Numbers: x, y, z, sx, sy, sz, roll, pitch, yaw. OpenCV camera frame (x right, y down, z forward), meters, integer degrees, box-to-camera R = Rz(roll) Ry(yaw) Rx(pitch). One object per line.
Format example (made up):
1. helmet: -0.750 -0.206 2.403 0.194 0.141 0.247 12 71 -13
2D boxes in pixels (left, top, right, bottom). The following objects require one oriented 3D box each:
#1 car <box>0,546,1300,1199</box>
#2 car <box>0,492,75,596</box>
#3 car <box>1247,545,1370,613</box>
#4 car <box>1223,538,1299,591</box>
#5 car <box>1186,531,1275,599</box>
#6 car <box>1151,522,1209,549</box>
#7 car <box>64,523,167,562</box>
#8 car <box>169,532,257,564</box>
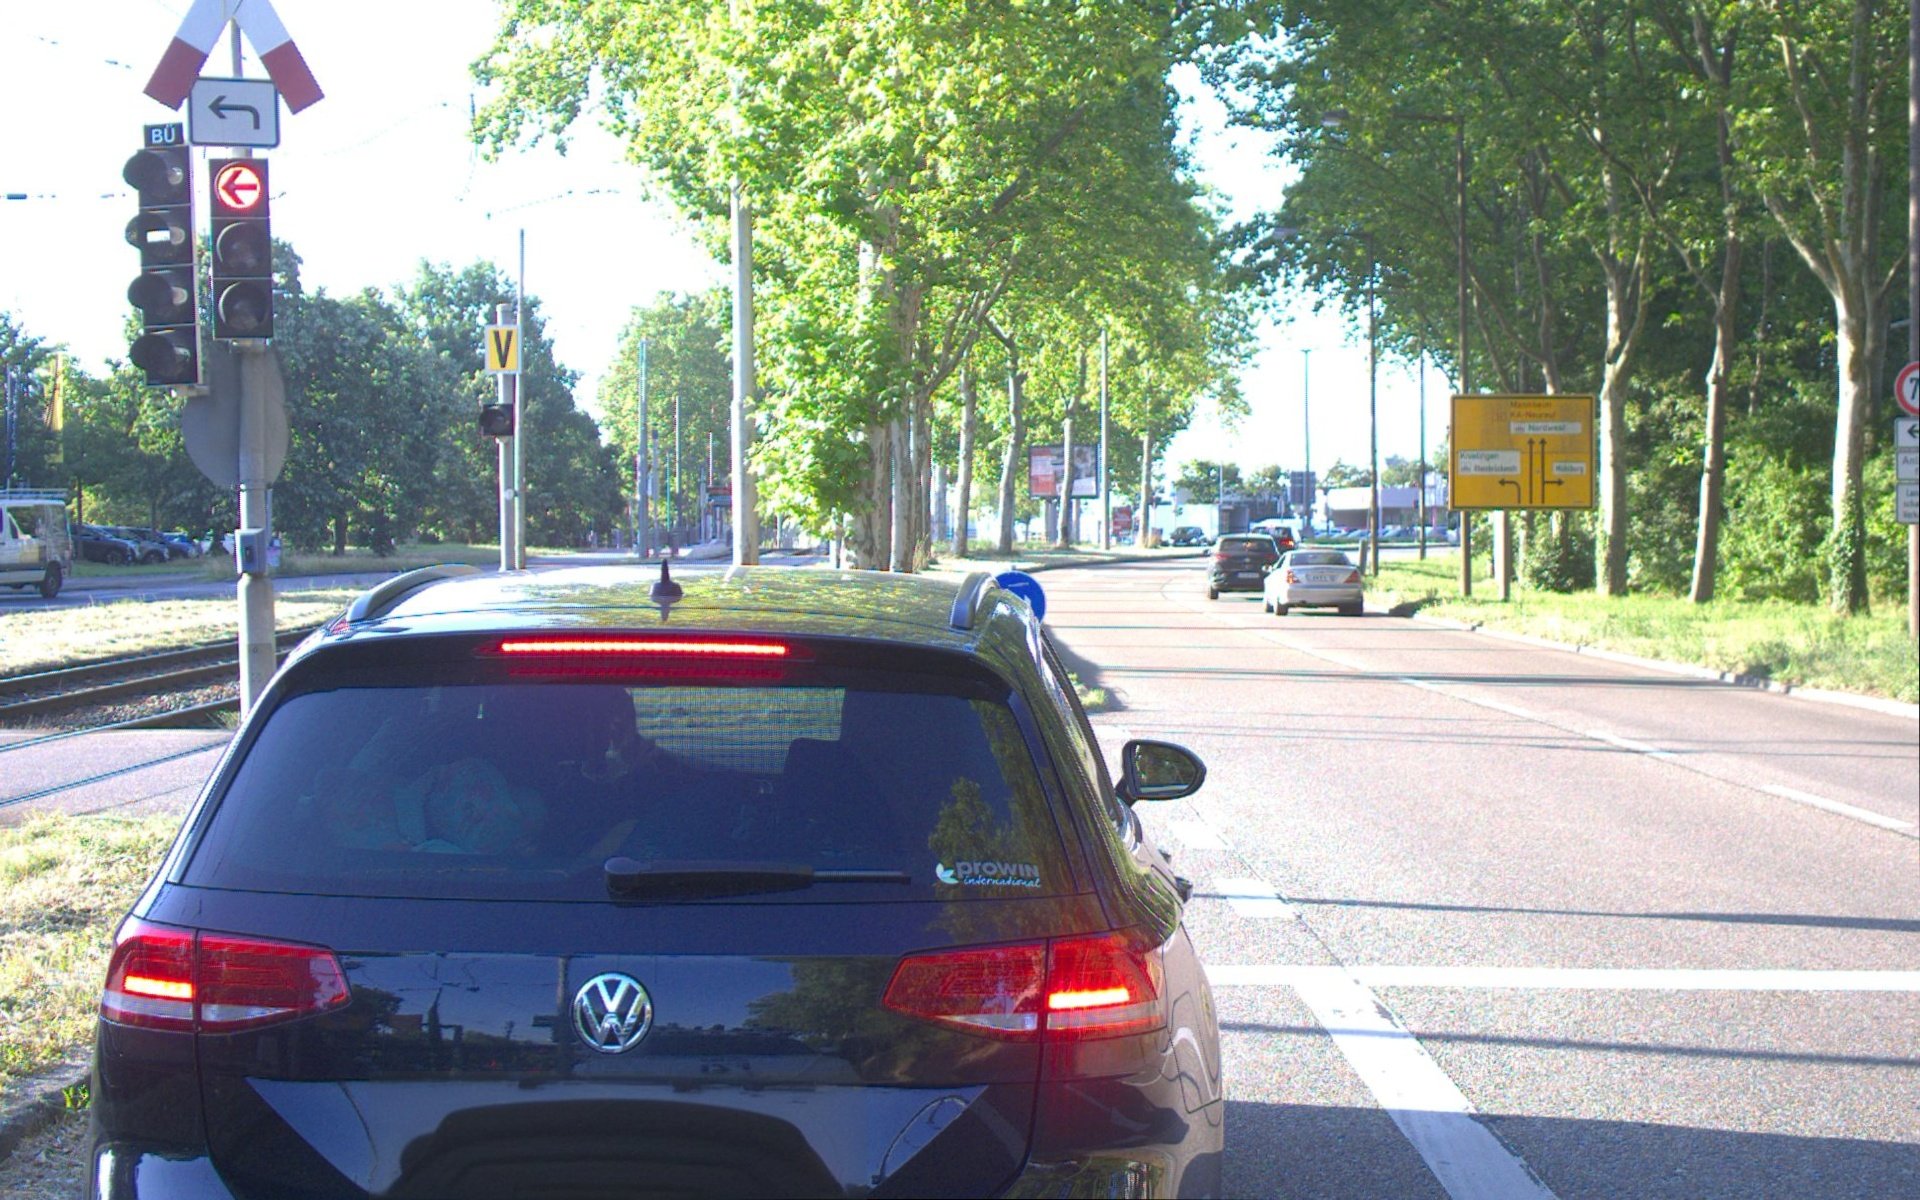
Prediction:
1. car: -0.482 0.644 6.417 1.795 1.459 3.583 1 1 -1
2. car: -23.501 -1.360 82.382 2.096 2.453 5.850 1 1 11
3. car: 6.876 -0.433 68.231 1.608 1.290 3.984 1 1 -6
4. car: 10.147 -1.180 115.612 1.873 1.629 4.367 4 1 13
5. car: 6.391 -0.848 81.593 1.707 1.555 4.166 0 1 -1
6. car: 11.763 -3.449 183.251 1.996 1.415 3.996 1 1 21
7. car: -35.822 -2.447 145.914 3.986 1.615 1.744 1 1 -5
8. car: -36.506 -2.536 167.990 3.986 1.550 1.744 1 1 -4
